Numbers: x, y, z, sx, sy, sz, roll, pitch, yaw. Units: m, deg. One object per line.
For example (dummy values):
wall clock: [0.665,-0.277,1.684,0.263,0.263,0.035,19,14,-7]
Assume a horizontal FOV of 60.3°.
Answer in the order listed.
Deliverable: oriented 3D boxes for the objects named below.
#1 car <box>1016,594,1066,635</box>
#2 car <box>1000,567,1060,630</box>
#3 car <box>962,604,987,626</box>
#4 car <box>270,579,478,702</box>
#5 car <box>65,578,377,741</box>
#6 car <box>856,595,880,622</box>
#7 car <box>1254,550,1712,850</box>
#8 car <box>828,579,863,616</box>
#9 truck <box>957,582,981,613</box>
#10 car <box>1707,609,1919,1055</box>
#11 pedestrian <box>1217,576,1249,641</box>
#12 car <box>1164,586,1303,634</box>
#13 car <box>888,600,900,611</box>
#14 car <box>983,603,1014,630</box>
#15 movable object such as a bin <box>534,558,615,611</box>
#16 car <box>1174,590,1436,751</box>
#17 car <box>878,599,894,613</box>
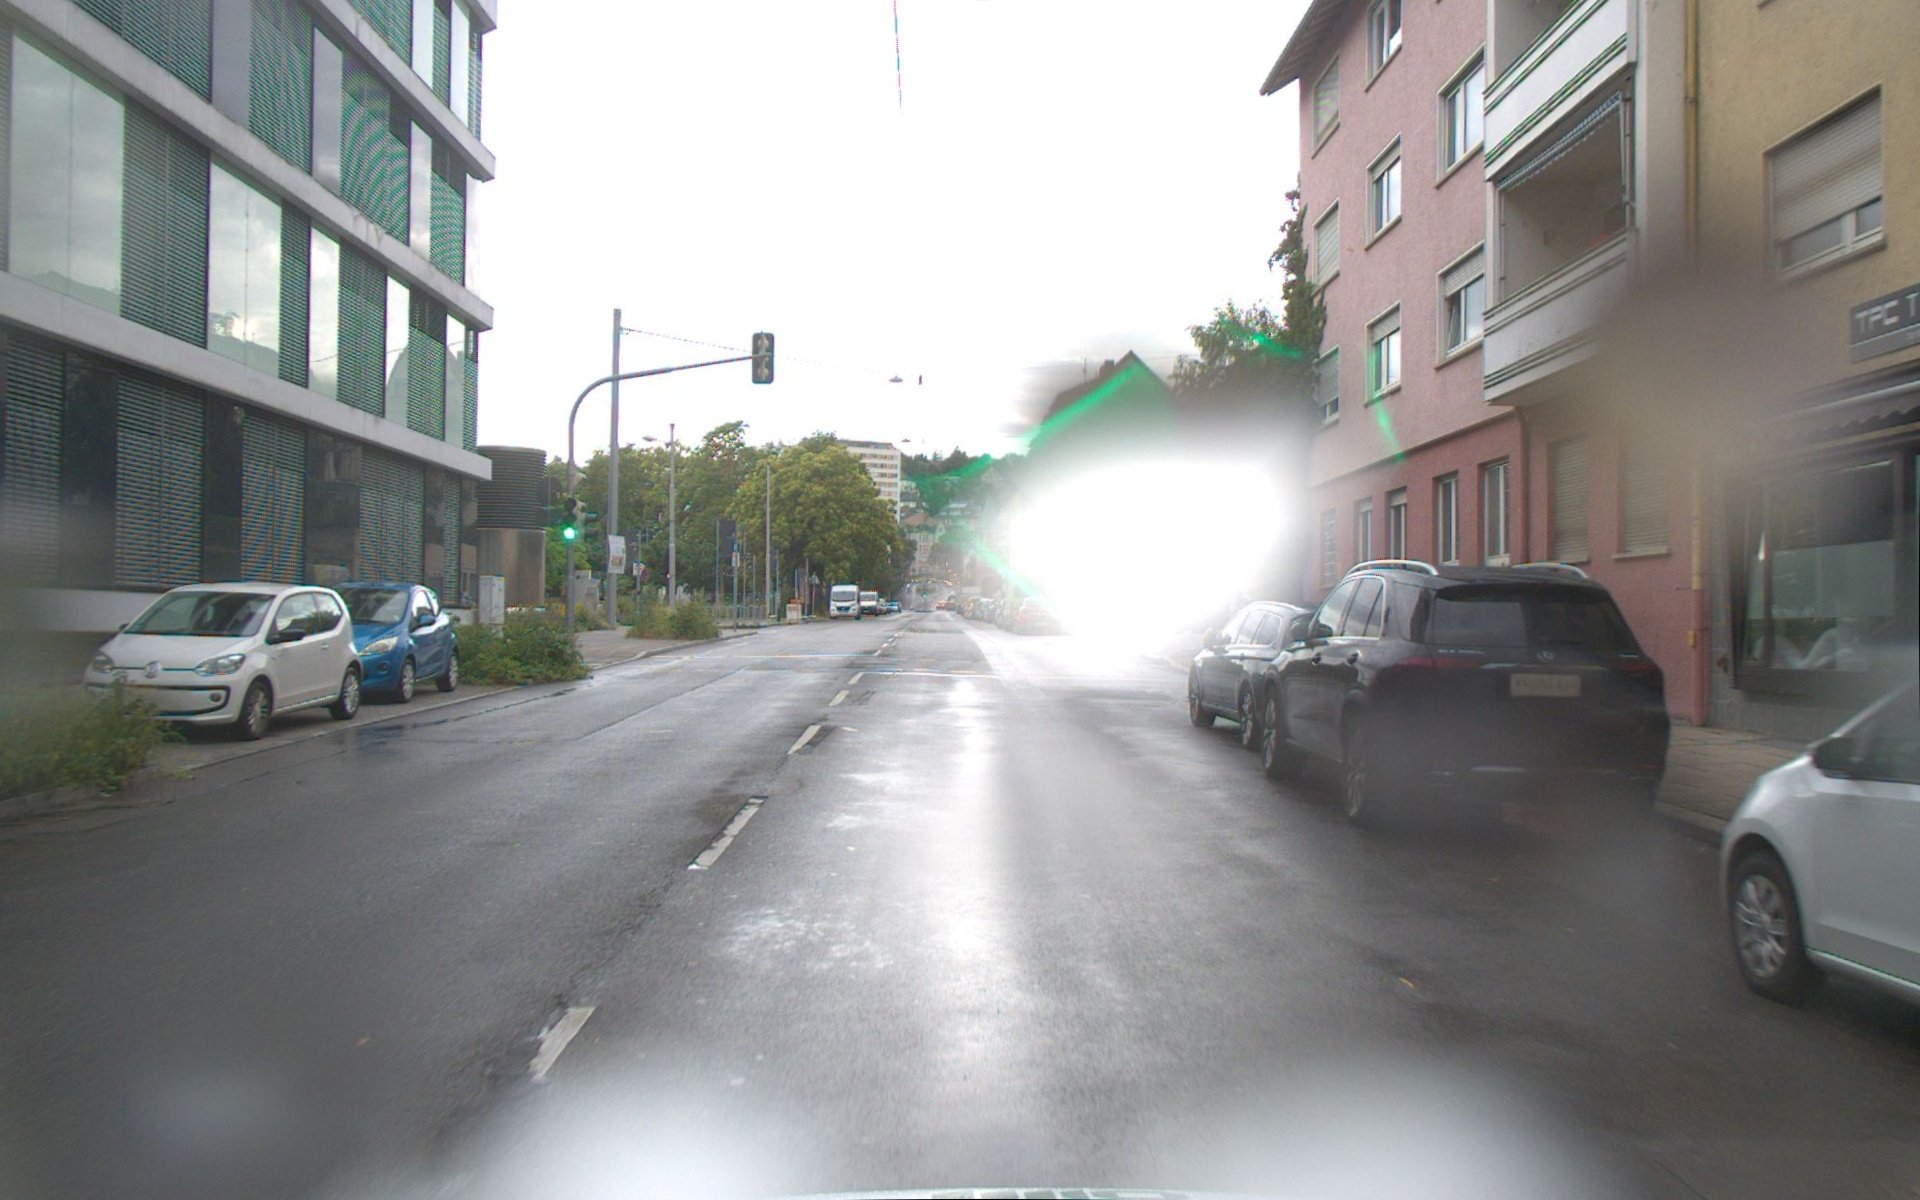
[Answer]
car: [3.079,0.537,63.855,1.686,1.446,4.203,2,0,0]
car: [2.929,-0.065,70.607,2.160,2.506,6.079,2,0,-1]
car: [1.035,1.106,123.062,1.681,1.551,3.999,2,0,-2]
car: [-7.711,0.490,22.083,1.604,1.492,3.582,1,0,-2]
car: [-7.503,0.548,17.174,1.604,1.492,3.584,1,0,0]
car: [-8.806,0.783,158.800,1.970,2.531,5.982,0,0,0]
car: [3.603,0.598,12.379,1.923,1.805,4.512,1,0,-1]
car: [-8.244,-0.179,119.664,2.185,2.624,6.535,-1,0,-2]
truck: [0.924,-0.248,179.115,2.419,3.228,7.034,1,-1,0]
car: [4.048,0.814,5.375,1.593,1.482,3.483,2,0,-1]
pedestrian: [7.434,0.221,45.124,0.708,1.745,0.905,-1,0,0]
car: [8.908,0.348,54.025,4.200,1.417,1.742,-3,-3,41]
car: [-9.155,0.716,230.184,1.675,1.476,4.292,0,-1,-2]
car: [2.289,0.953,98.789,1.596,1.479,3.758,2,0,-2]
movable object such as a bin: [-18.880,-0.742,80.847,1.656,2.502,5.212,1,0,-40]
car: [3.674,0.677,18.442,1.756,1.546,4.510,1,0,-3]
car: [-7.789,0.664,174.527,1.648,1.423,3.909,0,-1,-2]
